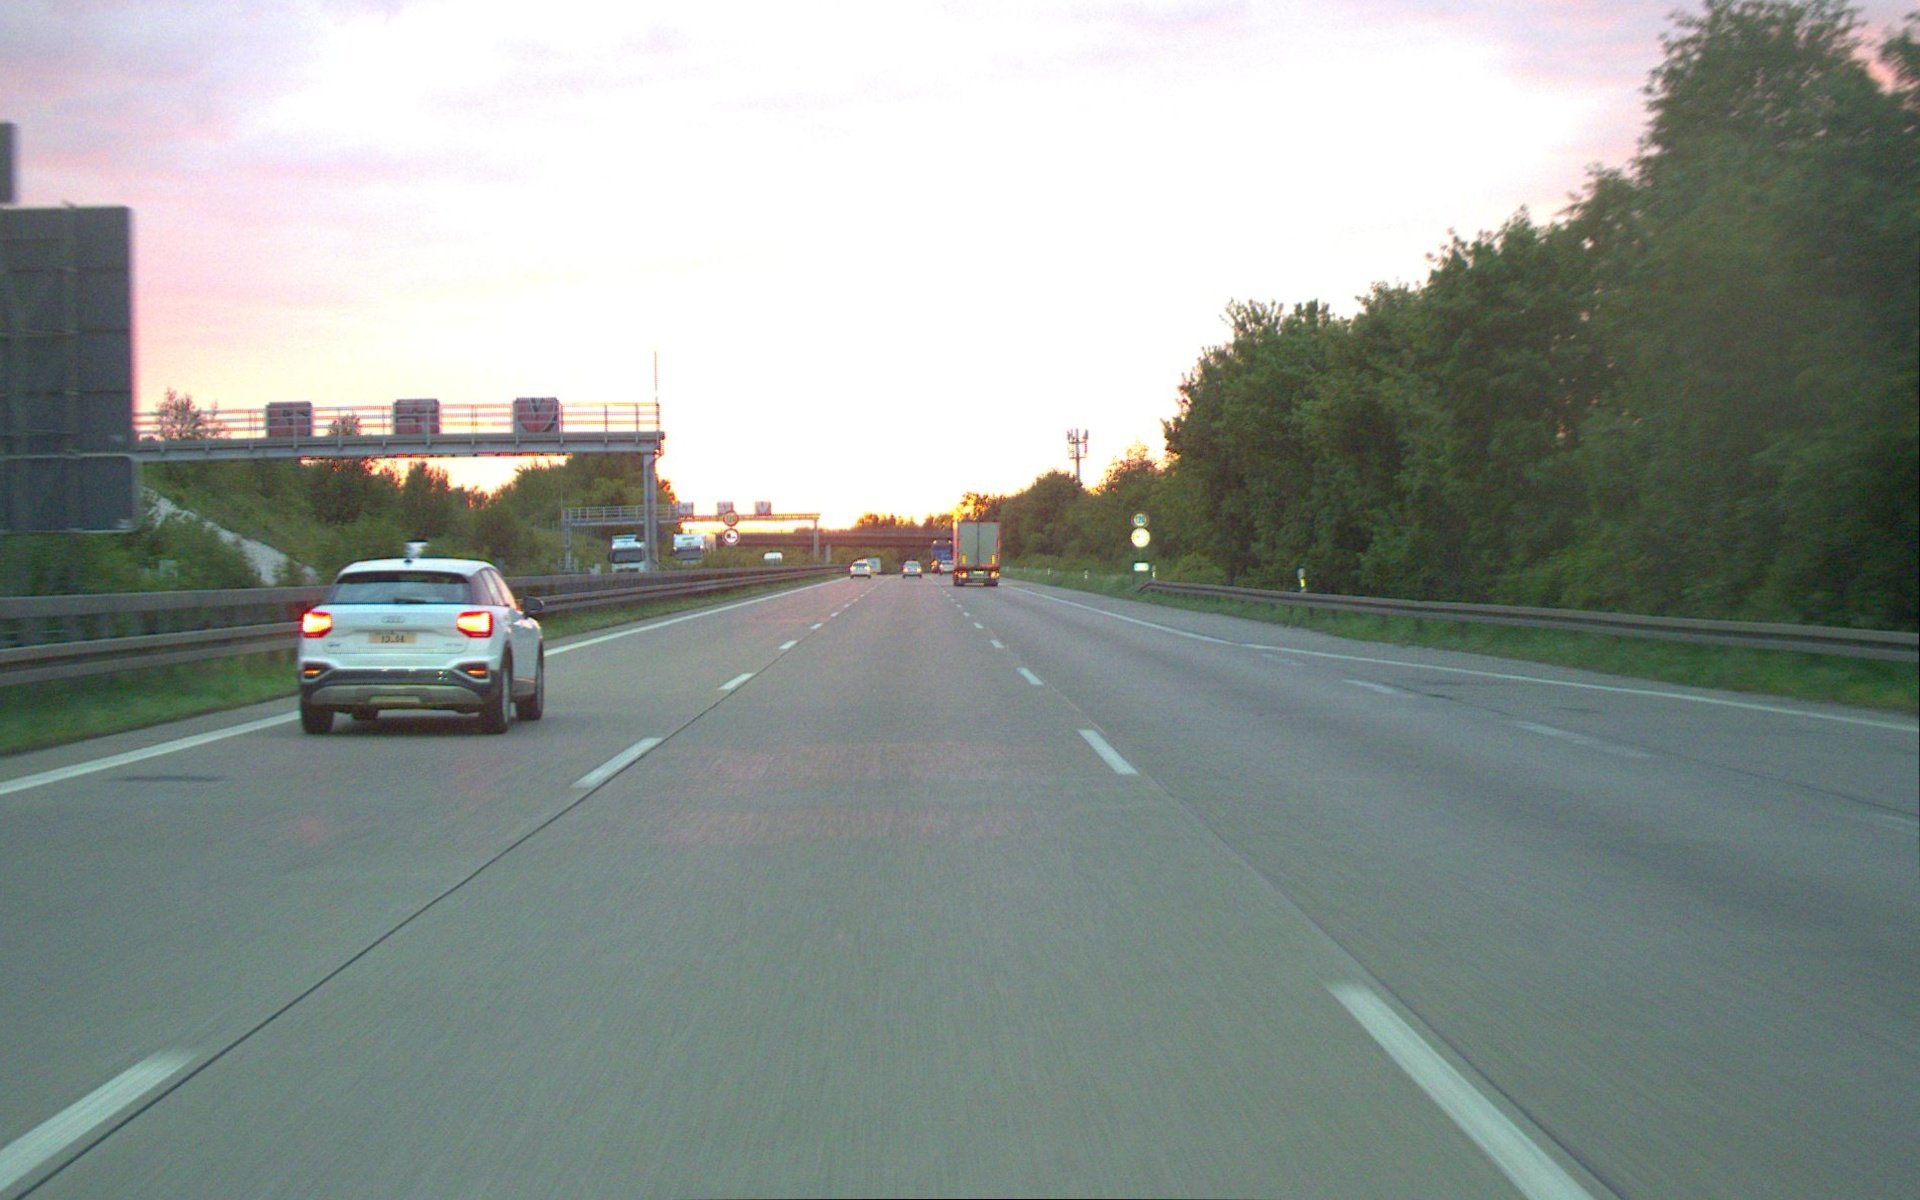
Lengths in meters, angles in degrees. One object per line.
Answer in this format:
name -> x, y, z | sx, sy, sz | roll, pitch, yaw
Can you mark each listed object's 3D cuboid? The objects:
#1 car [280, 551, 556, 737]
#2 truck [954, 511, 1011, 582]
car -> -4.809, 0.333, 31.149 | 1.789, 1.495, 5.038 | 1, 1, -1
truck -> 1.337, -3.208, 206.567 | 3.244, 4.113, 9.786 | -1, 1, 0
